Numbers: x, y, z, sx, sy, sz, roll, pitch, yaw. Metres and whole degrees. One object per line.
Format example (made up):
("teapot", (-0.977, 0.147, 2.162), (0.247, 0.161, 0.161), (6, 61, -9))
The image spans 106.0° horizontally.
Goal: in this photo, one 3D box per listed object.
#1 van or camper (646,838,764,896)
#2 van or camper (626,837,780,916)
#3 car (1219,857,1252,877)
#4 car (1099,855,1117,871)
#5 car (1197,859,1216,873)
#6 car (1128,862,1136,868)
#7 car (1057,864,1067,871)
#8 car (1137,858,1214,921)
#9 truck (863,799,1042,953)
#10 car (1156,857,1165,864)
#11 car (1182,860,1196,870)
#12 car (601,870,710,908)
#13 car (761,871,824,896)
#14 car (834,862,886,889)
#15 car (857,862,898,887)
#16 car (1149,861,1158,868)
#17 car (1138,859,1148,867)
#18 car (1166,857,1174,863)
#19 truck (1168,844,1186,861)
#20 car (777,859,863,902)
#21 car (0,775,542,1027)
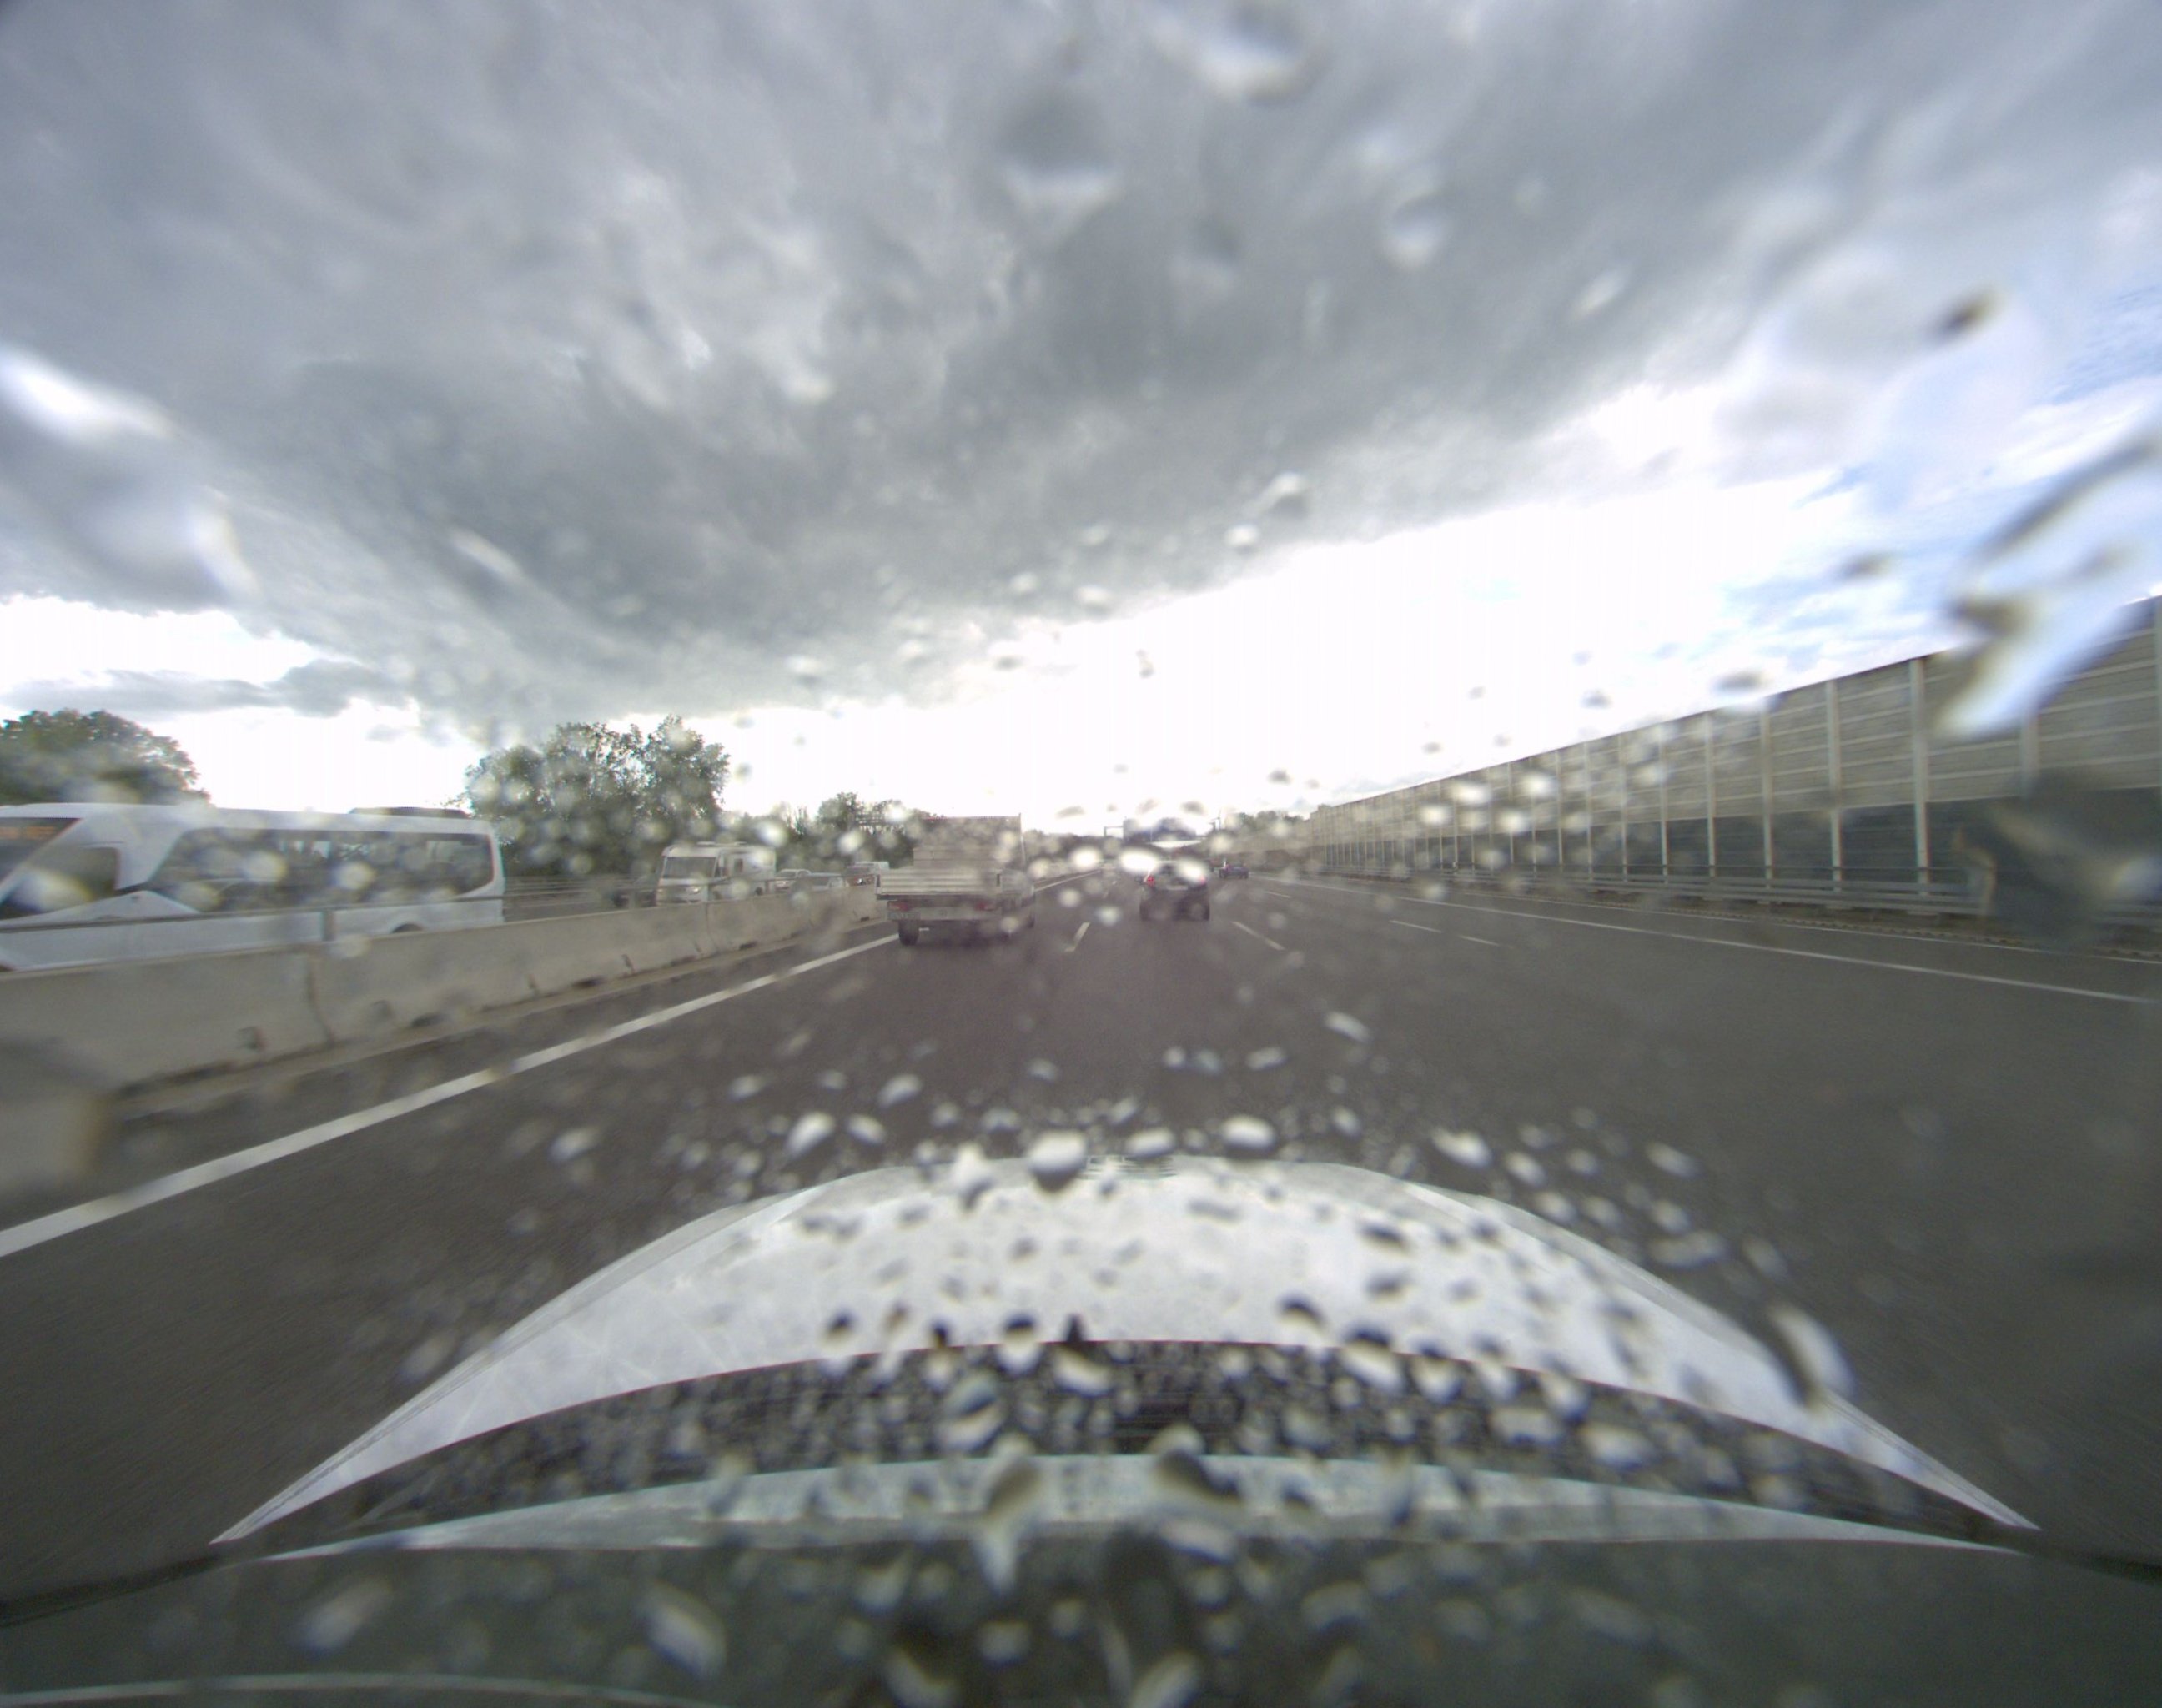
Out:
("van or camper", (-21.885, 0.738, 48.068), (2.614, 3.123, 8.483), (0, -1, 3))
("van or camper", (-15.496, 0.894, 34.144), (2.614, 2.951, 7.365), (0, -1, 3))
("car", (11.611, 0.959, 61.400), (1.941, 1.418, 4.236), (-1, -1, 4))
("car", (2.964, 0.966, 87.535), (1.709, 1.624, 4.284), (-1, 0, 5))
("car", (15.049, 1.455, 97.747), (1.874, 1.542, 4.437), (-2, -1, 4))
("car", (12.848, 2.824, 204.438), (1.960, 1.561, 4.436), (-2, -1, 3))
("car", (-4.239, 3.004, 180.327), (1.715, 1.603, 4.650), (0, -1, 5))
("car", (2.357, 0.842, 21.253), (1.710, 1.417, 4.281), (-1, 0, 3))
("truck", (-2.214, 0.333, 16.536), (2.298, 2.439, 7.150), (-1, 0, 1))
("car", (18.300, 1.603, 187.768), (1.960, 1.561, 4.435), (-2, -1, 2))
("car", (17.452, 1.735, 131.809), (1.875, 1.561, 4.436), (-2, -1, 3))
("car", (-18.746, 1.490, 36.186), (1.839, 1.547, 5.025), (0, -1, 5))
("car", (-17.778, 1.781, 50.456), (1.715, 1.456, 5.025), (0, -1, 5))
("car", (-13.992, 1.360, 51.785), (1.715, 1.646, 4.524), (0, -1, 5))
("car", (-16.385, 1.600, 65.848), (1.681, 1.936, 5.552), (0, -1, 3))
("car", (18.681, 2.689, 209.837), (1.961, 1.561, 4.434), (-1, -1, 1))
("car", (12.461, 1.888, 164.505), (1.960, 1.561, 4.436), (-2, -1, 3))
("car", (25.405, 1.684, 231.621), (1.960, 1.561, 4.435), (-2, -1, 2))
("truck", (20.637, -0.271, 175.801), (3.139, 3.601, 12.708), (0, 0, 3))
("car", (-10.535, 1.043, 33.297), (1.715, 1.646, 4.524), (0, -1, 5))
("car", (-12.689, 0.476, 12.475), (2.221, 2.749, 9.173), (-1, 1, 4))
